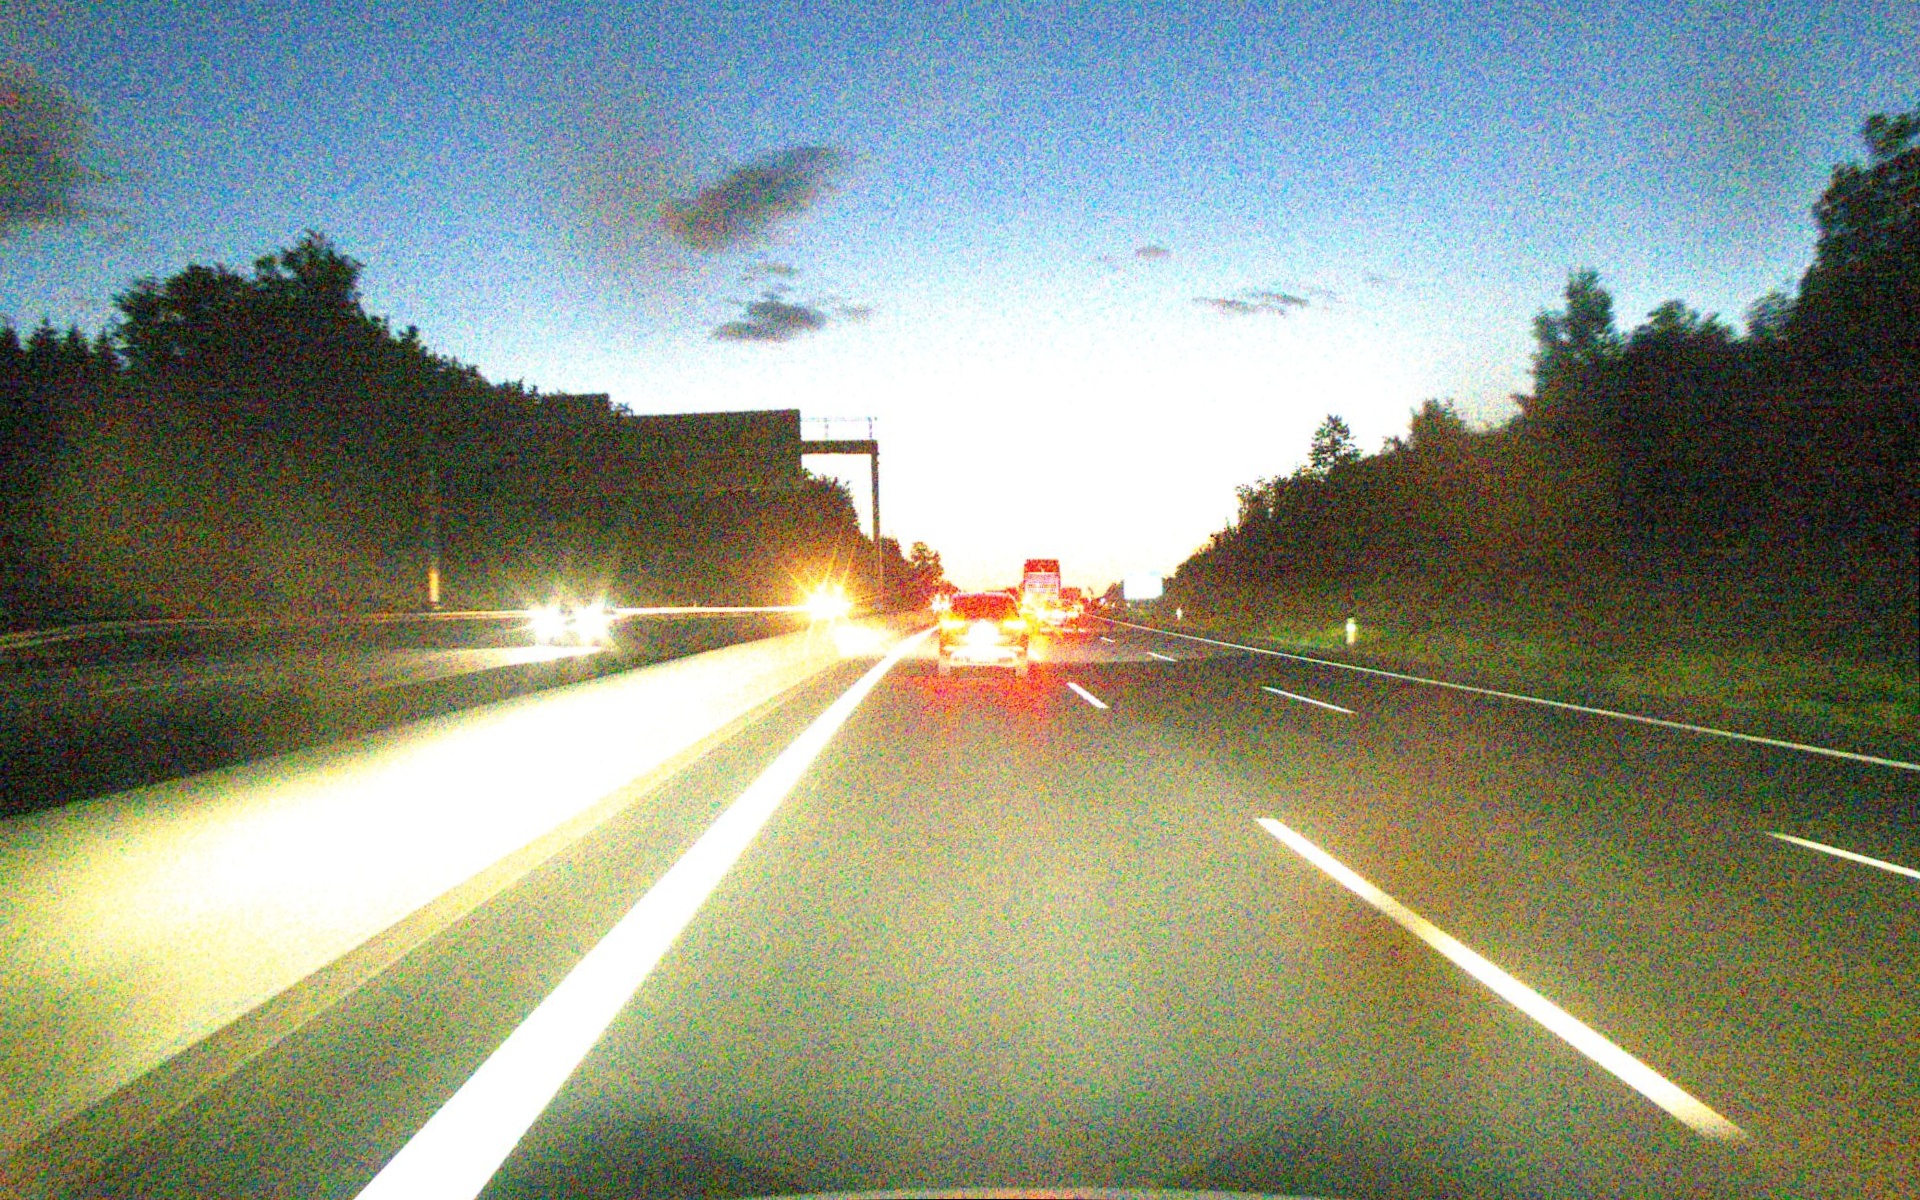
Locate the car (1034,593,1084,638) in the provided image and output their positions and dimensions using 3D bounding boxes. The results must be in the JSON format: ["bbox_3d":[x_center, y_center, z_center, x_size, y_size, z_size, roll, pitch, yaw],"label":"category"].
[{"bbox_3d":[4.161,0.676,70.136,1.872,1.760,4.000,3,-1,1],"label":"car"}]

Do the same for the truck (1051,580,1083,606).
[{"bbox_3d":[12.777,-0.840,198.520,2.496,3.069,9.044,1,0,-5],"label":"truck"}]

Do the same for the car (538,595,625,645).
[{"bbox_3d":[-11.573,0.592,50.846,1.776,1.478,4.133,0,0,-1],"label":"car"}]

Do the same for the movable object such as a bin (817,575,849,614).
[{"bbox_3d":[-11.530,-0.481,150.277,2.162,3.477,7.438,0,0,2],"label":"movable object such as a bin"}]

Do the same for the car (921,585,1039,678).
[{"bbox_3d":[0.322,0.566,32.818,2.064,1.646,4.202,1,1,-3],"label":"car"}]

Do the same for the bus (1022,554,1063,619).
[{"bbox_3d":[5.942,-0.810,117.561,2.597,4.064,14.706,-2,-1,3],"label":"bus"}]
